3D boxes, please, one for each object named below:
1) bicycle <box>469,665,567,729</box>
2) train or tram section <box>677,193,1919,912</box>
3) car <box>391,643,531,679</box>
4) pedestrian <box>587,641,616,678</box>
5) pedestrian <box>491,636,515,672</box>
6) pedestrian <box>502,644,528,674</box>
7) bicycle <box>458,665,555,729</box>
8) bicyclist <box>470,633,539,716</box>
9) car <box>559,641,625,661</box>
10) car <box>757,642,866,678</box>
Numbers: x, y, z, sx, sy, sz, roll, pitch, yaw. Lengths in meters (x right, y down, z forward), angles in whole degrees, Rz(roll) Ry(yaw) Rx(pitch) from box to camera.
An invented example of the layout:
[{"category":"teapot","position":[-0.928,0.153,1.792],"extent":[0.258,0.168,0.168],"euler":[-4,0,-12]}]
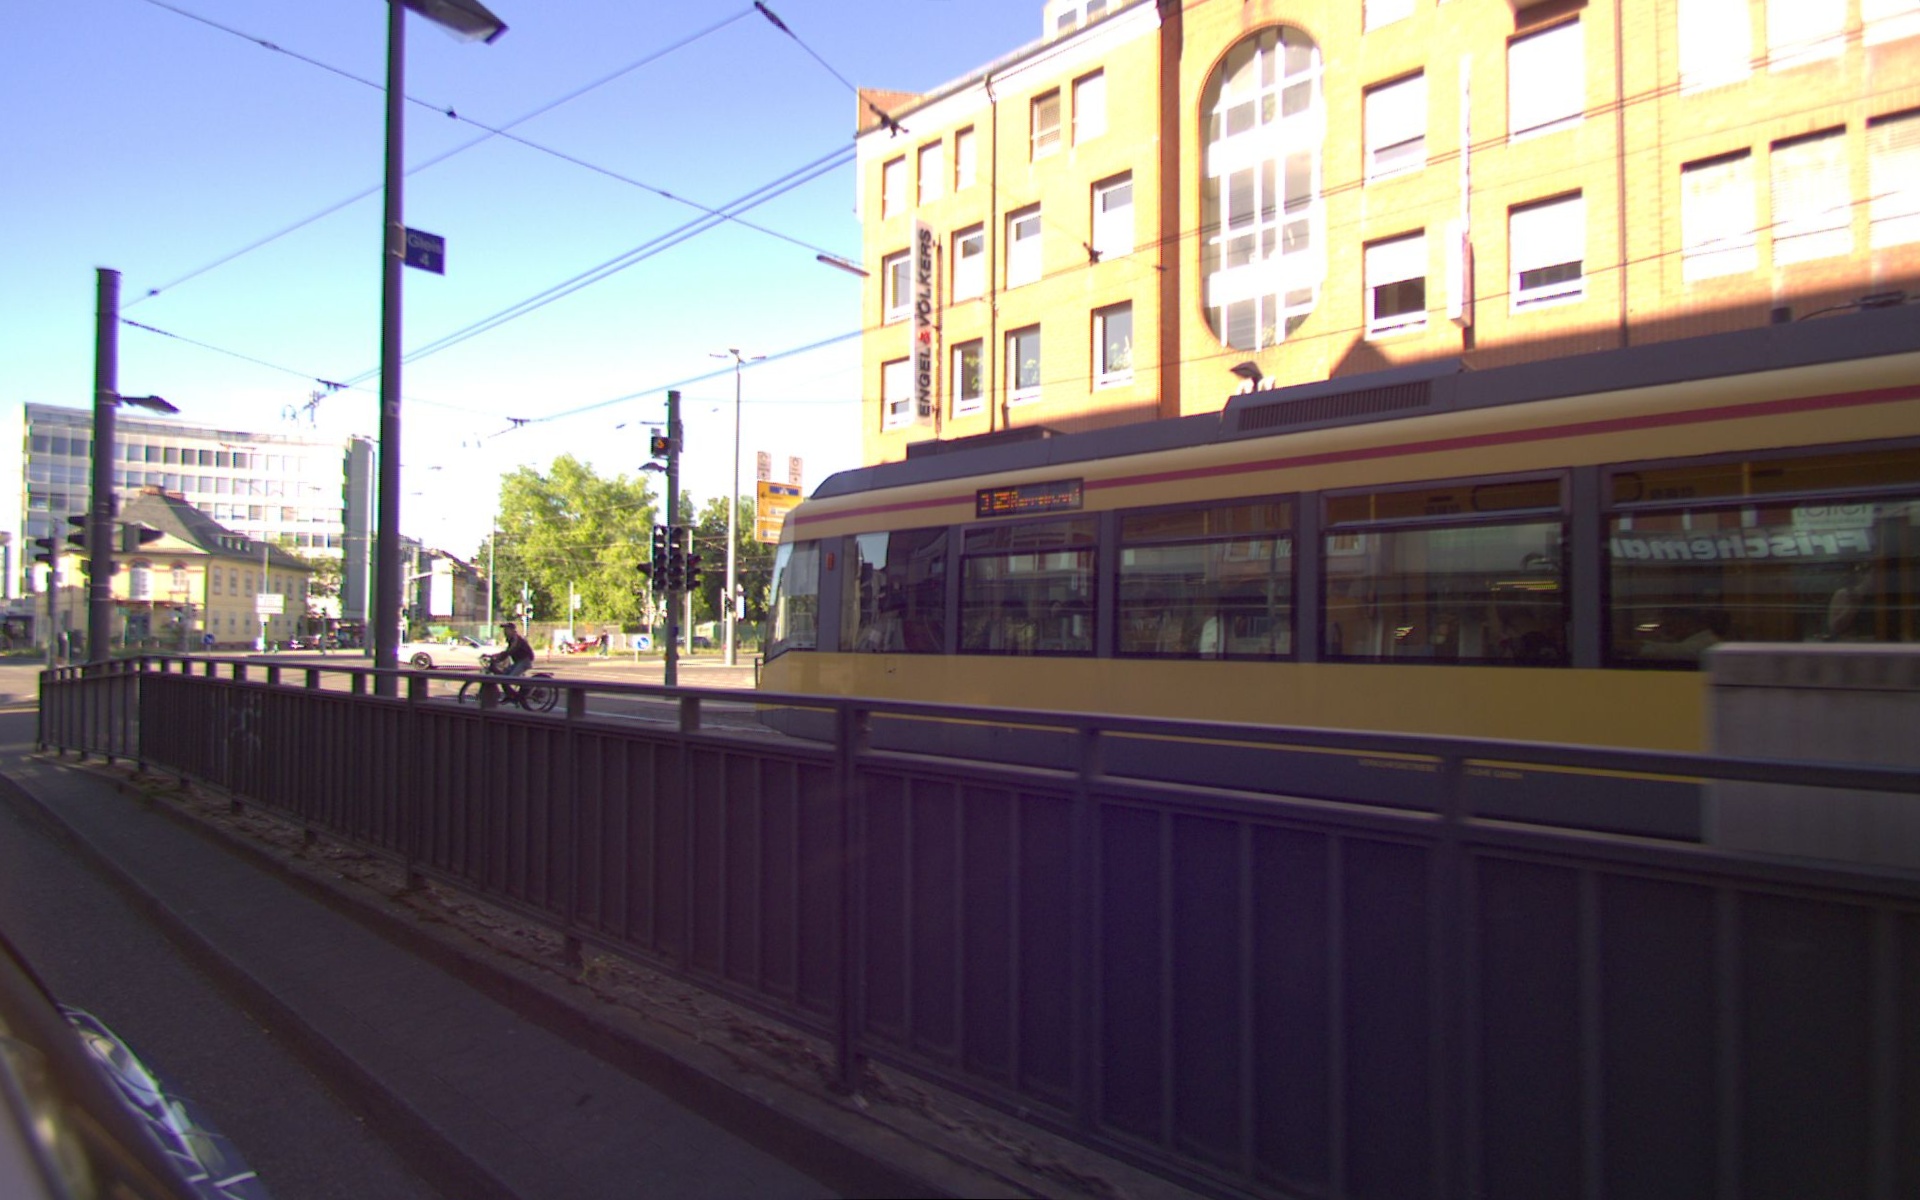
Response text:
[{"category":"bicycle","position":[-7.708,1.665,17.698],"extent":[0.417,1.029,1.573],"euler":[-2,-3,35]},{"category":"train or tram section","position":[2.628,-0.131,9.178],"extent":[13.938,3.672,2.942],"euler":[-2,-1,42]},{"category":"car","position":[-19.628,2.375,40.004],"extent":[4.614,1.369,2.005],"euler":[0,-2,-13]},{"category":"pedestrian","position":[-20.724,3.443,58.455],"extent":[1.422,2.029,1.182],"euler":[-1,-1,-13]},{"category":"pedestrian","position":[-26.545,3.113,58.806],"extent":[1.092,2.029,1.217],"euler":[-1,-1,-18]},{"category":"pedestrian","position":[-31.058,4.111,70.633],"extent":[1.507,2.029,1.665],"euler":[-1,-1,-29]},{"category":"bicycle","position":[-8.038,1.695,17.994],"extent":[0.417,1.041,1.573],"euler":[-2,-3,35]},{"category":"bicyclist","position":[-7.964,1.282,17.687],"extent":[0.899,1.391,0.741],"euler":[-2,-3,36]},{"category":"car","position":[-26.244,3.651,72.283],"extent":[1.926,1.369,4.077],"euler":[-2,-3,34]},{"category":"car","position":[-6.727,2.701,46.008],"extent":[4.460,1.548,2.005],"euler":[2,-3,-35]}]
